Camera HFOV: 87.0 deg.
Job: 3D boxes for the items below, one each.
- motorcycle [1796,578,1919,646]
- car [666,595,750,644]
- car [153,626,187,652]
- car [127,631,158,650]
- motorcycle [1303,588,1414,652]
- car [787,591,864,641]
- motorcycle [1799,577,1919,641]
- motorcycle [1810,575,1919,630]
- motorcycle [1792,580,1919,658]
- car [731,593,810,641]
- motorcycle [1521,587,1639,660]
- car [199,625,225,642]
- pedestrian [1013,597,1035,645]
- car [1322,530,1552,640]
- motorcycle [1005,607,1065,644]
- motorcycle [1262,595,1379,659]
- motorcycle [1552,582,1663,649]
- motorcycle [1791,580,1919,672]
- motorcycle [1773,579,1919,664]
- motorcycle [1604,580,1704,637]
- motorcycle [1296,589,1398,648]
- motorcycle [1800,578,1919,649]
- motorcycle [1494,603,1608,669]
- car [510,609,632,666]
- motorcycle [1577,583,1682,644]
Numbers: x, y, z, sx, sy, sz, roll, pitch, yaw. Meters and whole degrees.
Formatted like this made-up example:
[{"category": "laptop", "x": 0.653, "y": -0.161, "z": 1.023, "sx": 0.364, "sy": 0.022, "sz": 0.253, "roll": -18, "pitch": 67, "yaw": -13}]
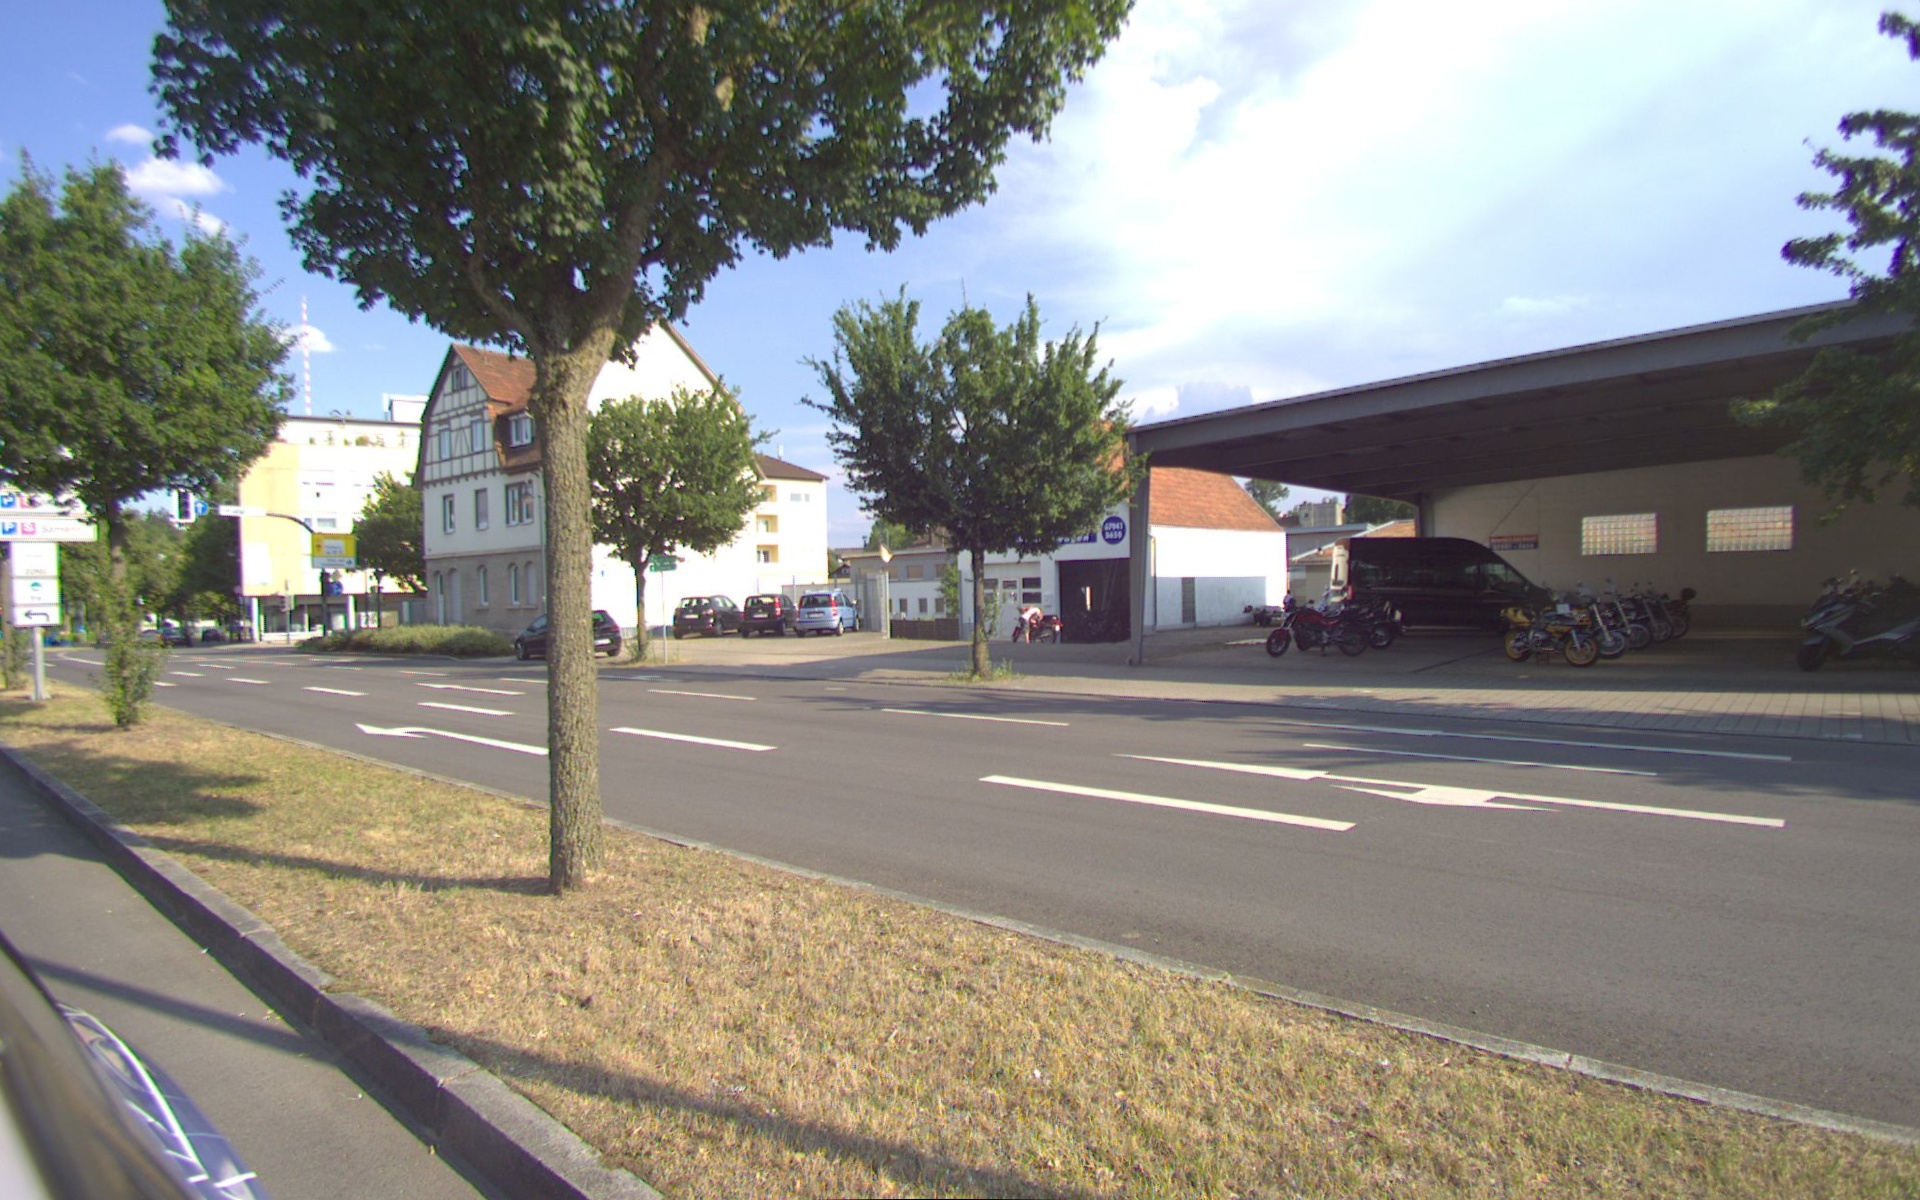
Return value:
[{"category": "motorcycle", "x": 19.043, "y": 0.255, "z": 21.289, "sx": 2.103, "sy": 1.306, "sz": 0.628, "roll": -3, "pitch": -1, "yaw": 17}, {"category": "car", "x": -9.313, "y": 0.688, "z": 37.698, "sx": 1.797, "sy": 1.512, "sz": 3.819, "roll": -3, "pitch": 2, "yaw": 5}, {"category": "car", "x": -54.698, "y": 2.687, "z": 70.102, "sx": 1.754, "sy": 1.706, "sz": 4.008, "roll": -1, "pitch": 0, "yaw": -38}, {"category": "car", "x": -70.758, "y": 3.520, "z": 87.627, "sx": 1.753, "sy": 1.480, "sz": 4.385, "roll": -1, "pitch": 0, "yaw": -34}, {"category": "motorcycle", "x": 8.965, "y": 0.449, "z": 22.803, "sx": 2.198, "sy": 1.372, "sz": 0.630, "roll": -1, "pitch": 0, "yaw": 5}, {"category": "car", "x": -4.674, "y": 0.518, "z": 35.676, "sx": 1.797, "sy": 1.512, "sz": 3.819, "roll": -3, "pitch": 2, "yaw": 5}, {"category": "motorcycle", "x": 20.237, "y": 0.205, "z": 22.643, "sx": 2.103, "sy": 1.306, "sz": 0.628, "roll": -3, "pitch": -1, "yaw": 17}, {"category": "motorcycle", "x": 23.743, "y": 0.071, "z": 26.521, "sx": 2.103, "sy": 1.306, "sz": 0.628, "roll": -3, "pitch": -1, "yaw": 17}, {"category": "motorcycle", "x": 16.540, "y": 0.339, "z": 18.347, "sx": 2.103, "sy": 1.306, "sz": 0.628, "roll": -3, "pitch": -1, "yaw": 17}, {"category": "car", "x": -6.913, "y": 0.584, "z": 37.305, "sx": 1.797, "sy": 1.512, "sz": 3.819, "roll": -3, "pitch": 2, "yaw": 5}, {"category": "motorcycle", "x": 12.168, "y": 0.436, "z": 19.955, "sx": 0.621, "sy": 1.347, "sz": 2.269, "roll": -1, "pitch": 0, "yaw": -9}, {"category": "car", "x": -81.563, "y": 3.668, "z": 110.367, "sx": 1.752, "sy": 1.706, "sz": 4.012, "roll": -1, "pitch": 0, "yaw": -29}, {"category": "pedestrian", "x": 2.081, "y": 0.673, "z": 32.763, "sx": 0.485, "sy": 1.530, "sz": 0.496, "roll": -1, "pitch": 0, "yaw": 41}, {"category": "car", "x": 12.875, "y": -0.380, "z": 27.627, "sx": 5.221, "sy": 2.773, "sz": 1.996, "roll": -1, "pitch": 0, "yaw": 7}, {"category": "motorcycle", "x": 2.443, "y": 0.837, "z": 33.209, "sx": 1.974, "sy": 1.194, "sz": 0.577, "roll": -1, "pitch": 0, "yaw": 41}, {"category": "motorcycle", "x": 7.506, "y": 0.560, "z": 21.159, "sx": 2.202, "sy": 1.290, "sz": 0.629, "roll": -1, "pitch": 0, "yaw": 11}, {"category": "motorcycle", "x": 13.873, "y": 0.323, "z": 21.768, "sx": 0.621, "sy": 1.347, "sz": 2.269, "roll": -1, "pitch": 0, "yaw": -9}, {"category": "motorcycle", "x": 13.870, "y": 0.374, "z": 15.115, "sx": 2.103, "sy": 1.306, "sz": 0.628, "roll": -3, "pitch": -1, "yaw": 17}, {"category": "motorcycle", "x": 14.922, "y": 0.360, "z": 16.775, "sx": 2.103, "sy": 1.306, "sz": 0.628, "roll": -3, "pitch": -1, "yaw": 17}, {"category": "motorcycle", "x": 17.300, "y": 0.218, "z": 25.302, "sx": 0.621, "sy": 1.347, "sz": 2.269, "roll": -1, "pitch": 0, "yaw": -9}, {"category": "motorcycle", "x": 9.388, "y": 0.451, "z": 24.606, "sx": 2.198, "sy": 1.372, "sz": 0.630, "roll": -1, "pitch": 0, "yaw": 5}, {"category": "motorcycle", "x": 18.054, "y": 0.268, "z": 19.988, "sx": 2.103, "sy": 1.306, "sz": 0.628, "roll": -3, "pitch": -1, "yaw": 17}, {"category": "motorcycle", "x": 10.540, "y": 0.618, "z": 18.150, "sx": 0.621, "sy": 1.095, "sz": 2.038, "roll": -1, "pitch": 0, "yaw": -7}, {"category": "car", "x": -11.591, "y": 1.079, "z": 30.075, "sx": 3.823, "sy": 1.462, "sz": 1.795, "roll": -1, "pitch": 2, "yaw": 42}, {"category": "motorcycle", "x": 15.546, "y": 0.300, "z": 23.578, "sx": 0.621, "sy": 1.347, "sz": 2.269, "roll": -1, "pitch": 0, "yaw": -9}]
